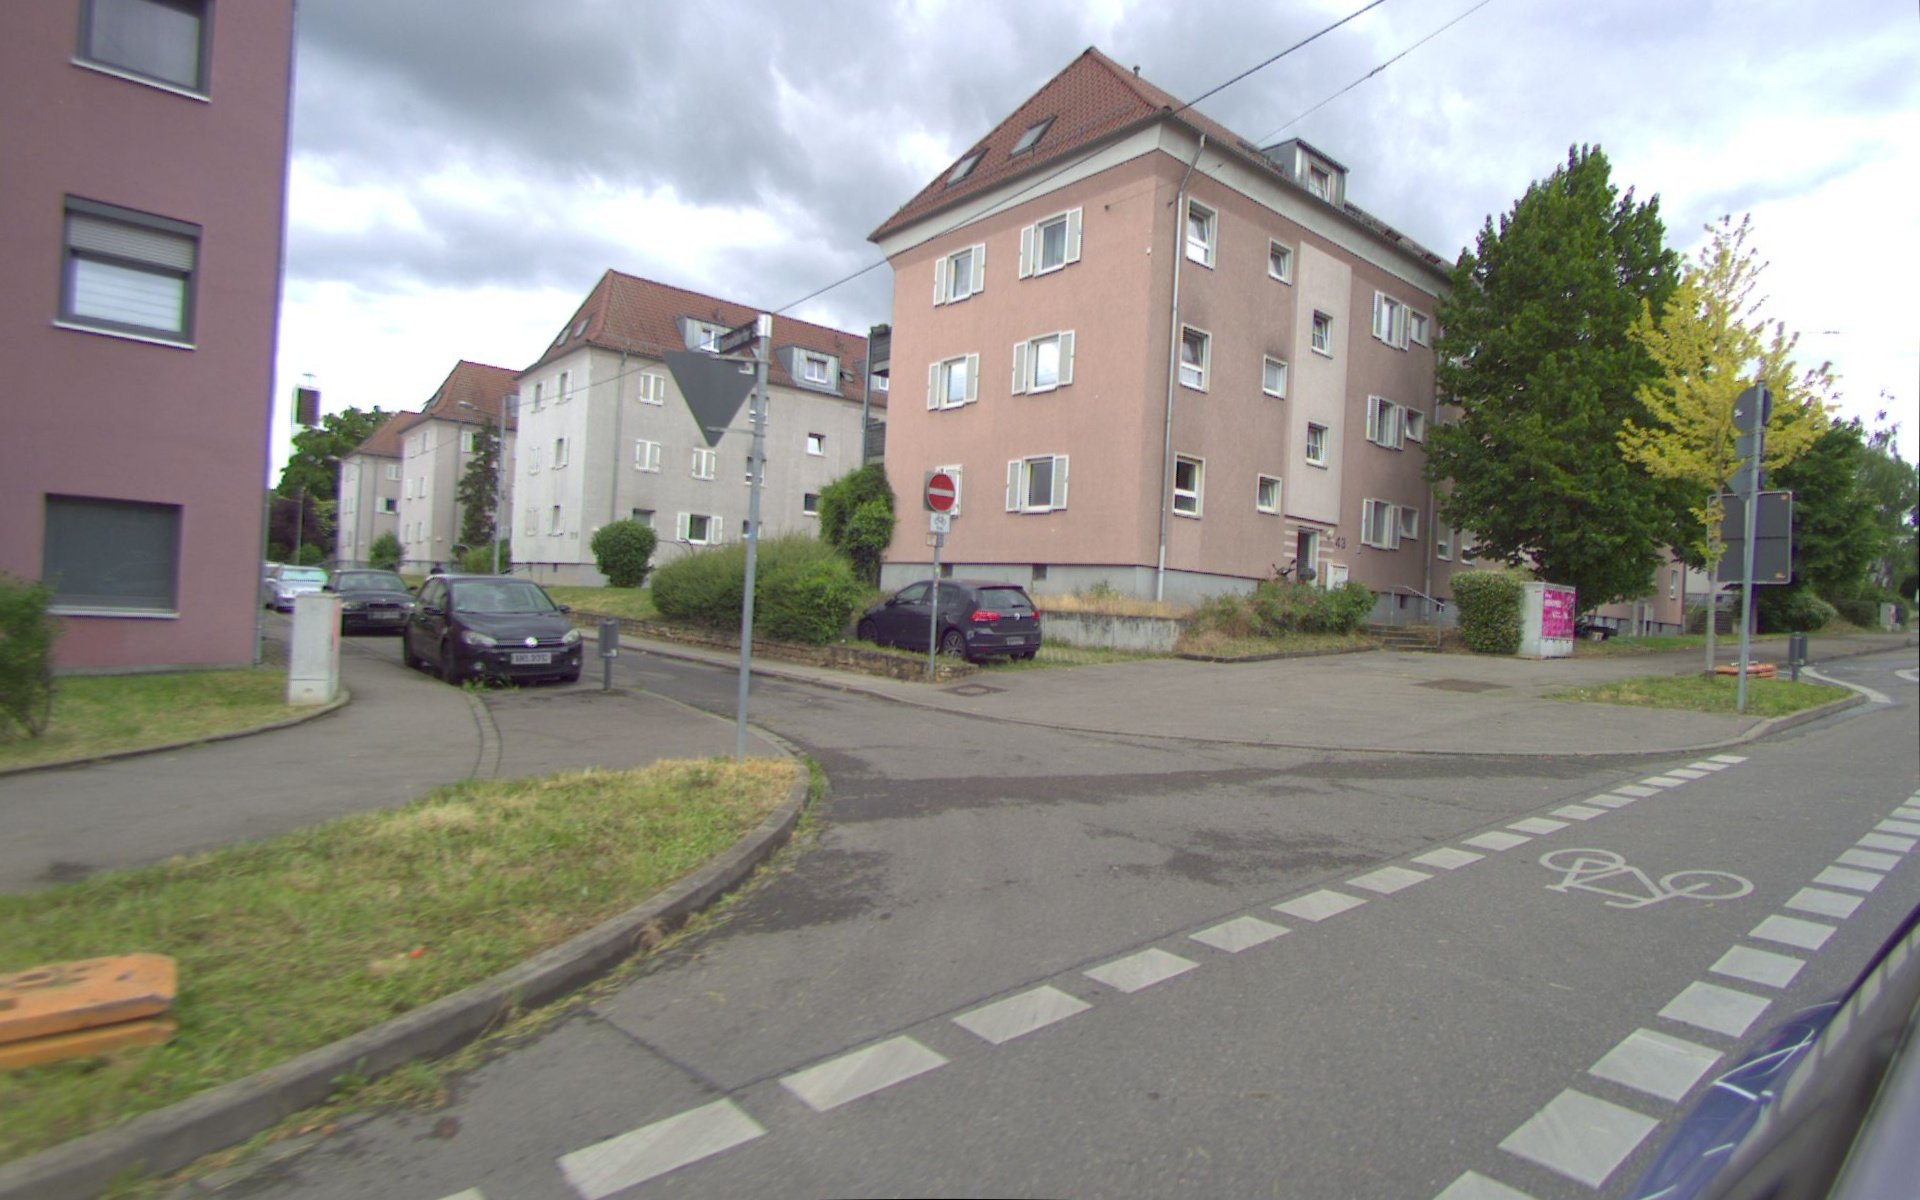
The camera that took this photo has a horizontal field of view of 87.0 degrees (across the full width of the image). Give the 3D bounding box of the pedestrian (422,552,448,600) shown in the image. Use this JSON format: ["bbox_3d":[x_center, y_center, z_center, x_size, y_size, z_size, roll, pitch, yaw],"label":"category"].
[{"bbox_3d":[-20.098,-0.916,38.767,0.705,1.818,0.732,1,1,-42],"label":"pedestrian"}]

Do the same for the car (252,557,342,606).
[{"bbox_3d":[-20.762,-0.596,31.638,1.676,1.438,3.991,1,1,-43],"label":"car"}]

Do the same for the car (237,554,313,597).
[{"bbox_3d":[-24.753,-0.888,36.520,1.676,1.438,3.991,1,1,-43],"label":"car"}]

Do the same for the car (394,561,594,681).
[{"bbox_3d":[-6.817,0.208,14.576,1.728,1.474,3.998,1,1,-38],"label":"car"}]

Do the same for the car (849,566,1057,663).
[{"bbox_3d":[-0.233,0.162,18.453,1.659,1.470,3.997,-1,4,-39],"label":"car"}]

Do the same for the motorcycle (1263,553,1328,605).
[{"bbox_3d":[8.376,-0.513,25.228,1.933,1.242,0.591,1,1,-41],"label":"motorcycle"}]

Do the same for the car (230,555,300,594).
[{"bbox_3d":[-27.539,-1.021,40.051,1.676,1.438,3.991,1,1,-43],"label":"car"}]

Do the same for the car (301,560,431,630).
[{"bbox_3d":[-13.429,-0.154,22.779,1.676,1.438,3.991,1,1,-43],"label":"car"}]
